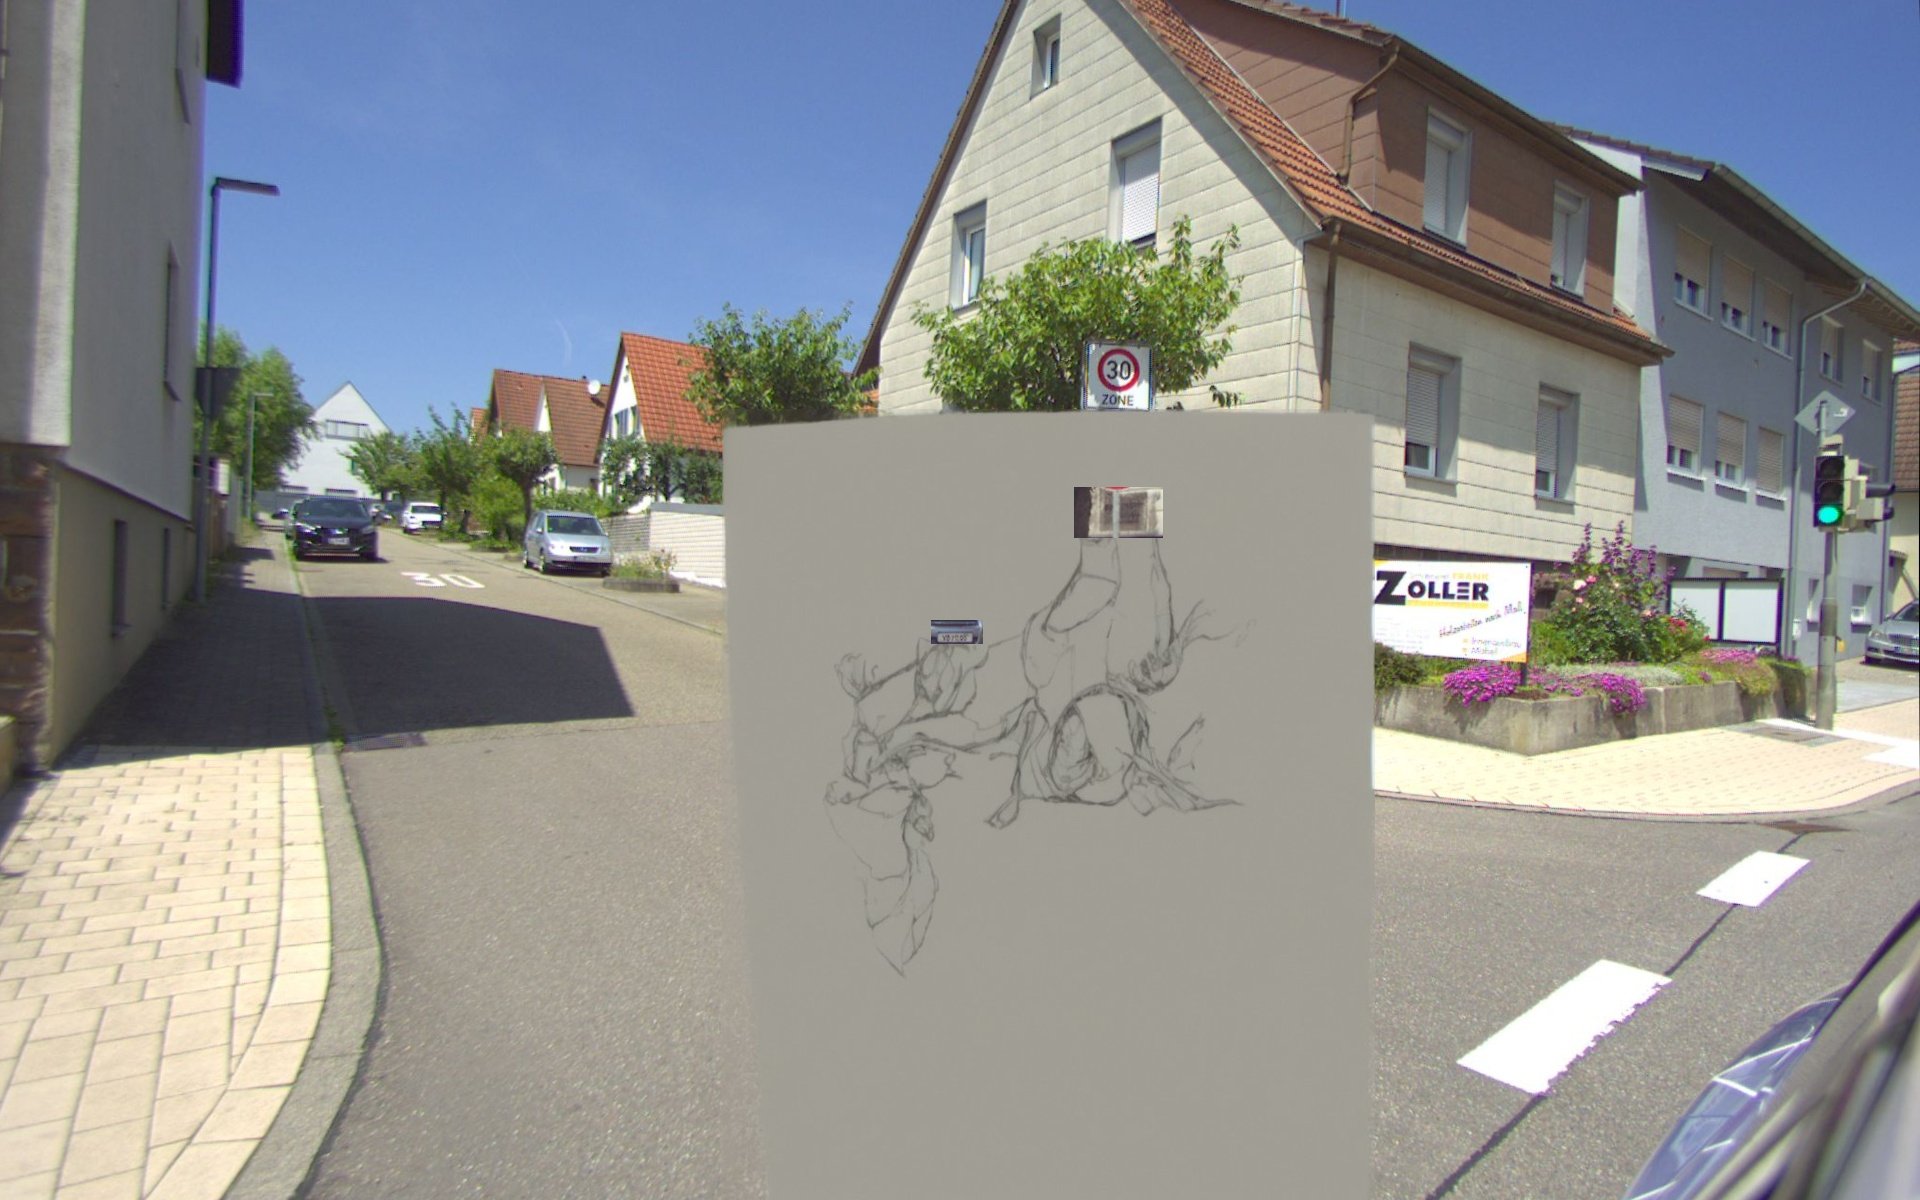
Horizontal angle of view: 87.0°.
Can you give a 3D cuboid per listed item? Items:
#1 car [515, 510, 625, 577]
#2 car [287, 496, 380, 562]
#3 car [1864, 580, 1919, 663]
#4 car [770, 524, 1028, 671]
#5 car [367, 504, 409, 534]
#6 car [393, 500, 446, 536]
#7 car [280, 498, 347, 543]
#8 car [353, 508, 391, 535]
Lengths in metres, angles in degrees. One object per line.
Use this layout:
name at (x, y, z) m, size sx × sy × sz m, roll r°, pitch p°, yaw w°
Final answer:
car at (-10.396, -1.539, 26.780) m, size 1.867 × 1.599 × 4.405 m, roll 0°, pitch 4°, yaw -33°
car at (-15.964, -1.829, 25.931) m, size 1.866 × 1.502 × 4.297 m, roll 0°, pitch 4°, yaw -30°
car at (21.657, 0.472, 22.007) m, size 4.421 × 1.640 × 1.871 m, roll 0°, pitch 5°, yaw -34°
car at (-0.917, -0.140, 12.987) m, size 1.765 × 1.510 × 3.530 m, roll 0°, pitch 5°, yaw -33°
car at (-36.036, -5.124, 63.747) m, size 1.868 × 1.737 × 4.292 m, roll 0°, pitch 4°, yaw -36°
car at (-28.170, -4.283, 52.686) m, size 1.868 × 1.737 × 4.292 m, roll 0°, pitch 4°, yaw -36°
car at (-23.917, -2.956, 37.379) m, size 1.868 × 1.502 × 4.292 m, roll 0°, pitch 4°, yaw -36°
car at (-40.727, -5.470, 70.089) m, size 1.868 × 1.737 × 4.292 m, roll 0°, pitch 4°, yaw -36°
